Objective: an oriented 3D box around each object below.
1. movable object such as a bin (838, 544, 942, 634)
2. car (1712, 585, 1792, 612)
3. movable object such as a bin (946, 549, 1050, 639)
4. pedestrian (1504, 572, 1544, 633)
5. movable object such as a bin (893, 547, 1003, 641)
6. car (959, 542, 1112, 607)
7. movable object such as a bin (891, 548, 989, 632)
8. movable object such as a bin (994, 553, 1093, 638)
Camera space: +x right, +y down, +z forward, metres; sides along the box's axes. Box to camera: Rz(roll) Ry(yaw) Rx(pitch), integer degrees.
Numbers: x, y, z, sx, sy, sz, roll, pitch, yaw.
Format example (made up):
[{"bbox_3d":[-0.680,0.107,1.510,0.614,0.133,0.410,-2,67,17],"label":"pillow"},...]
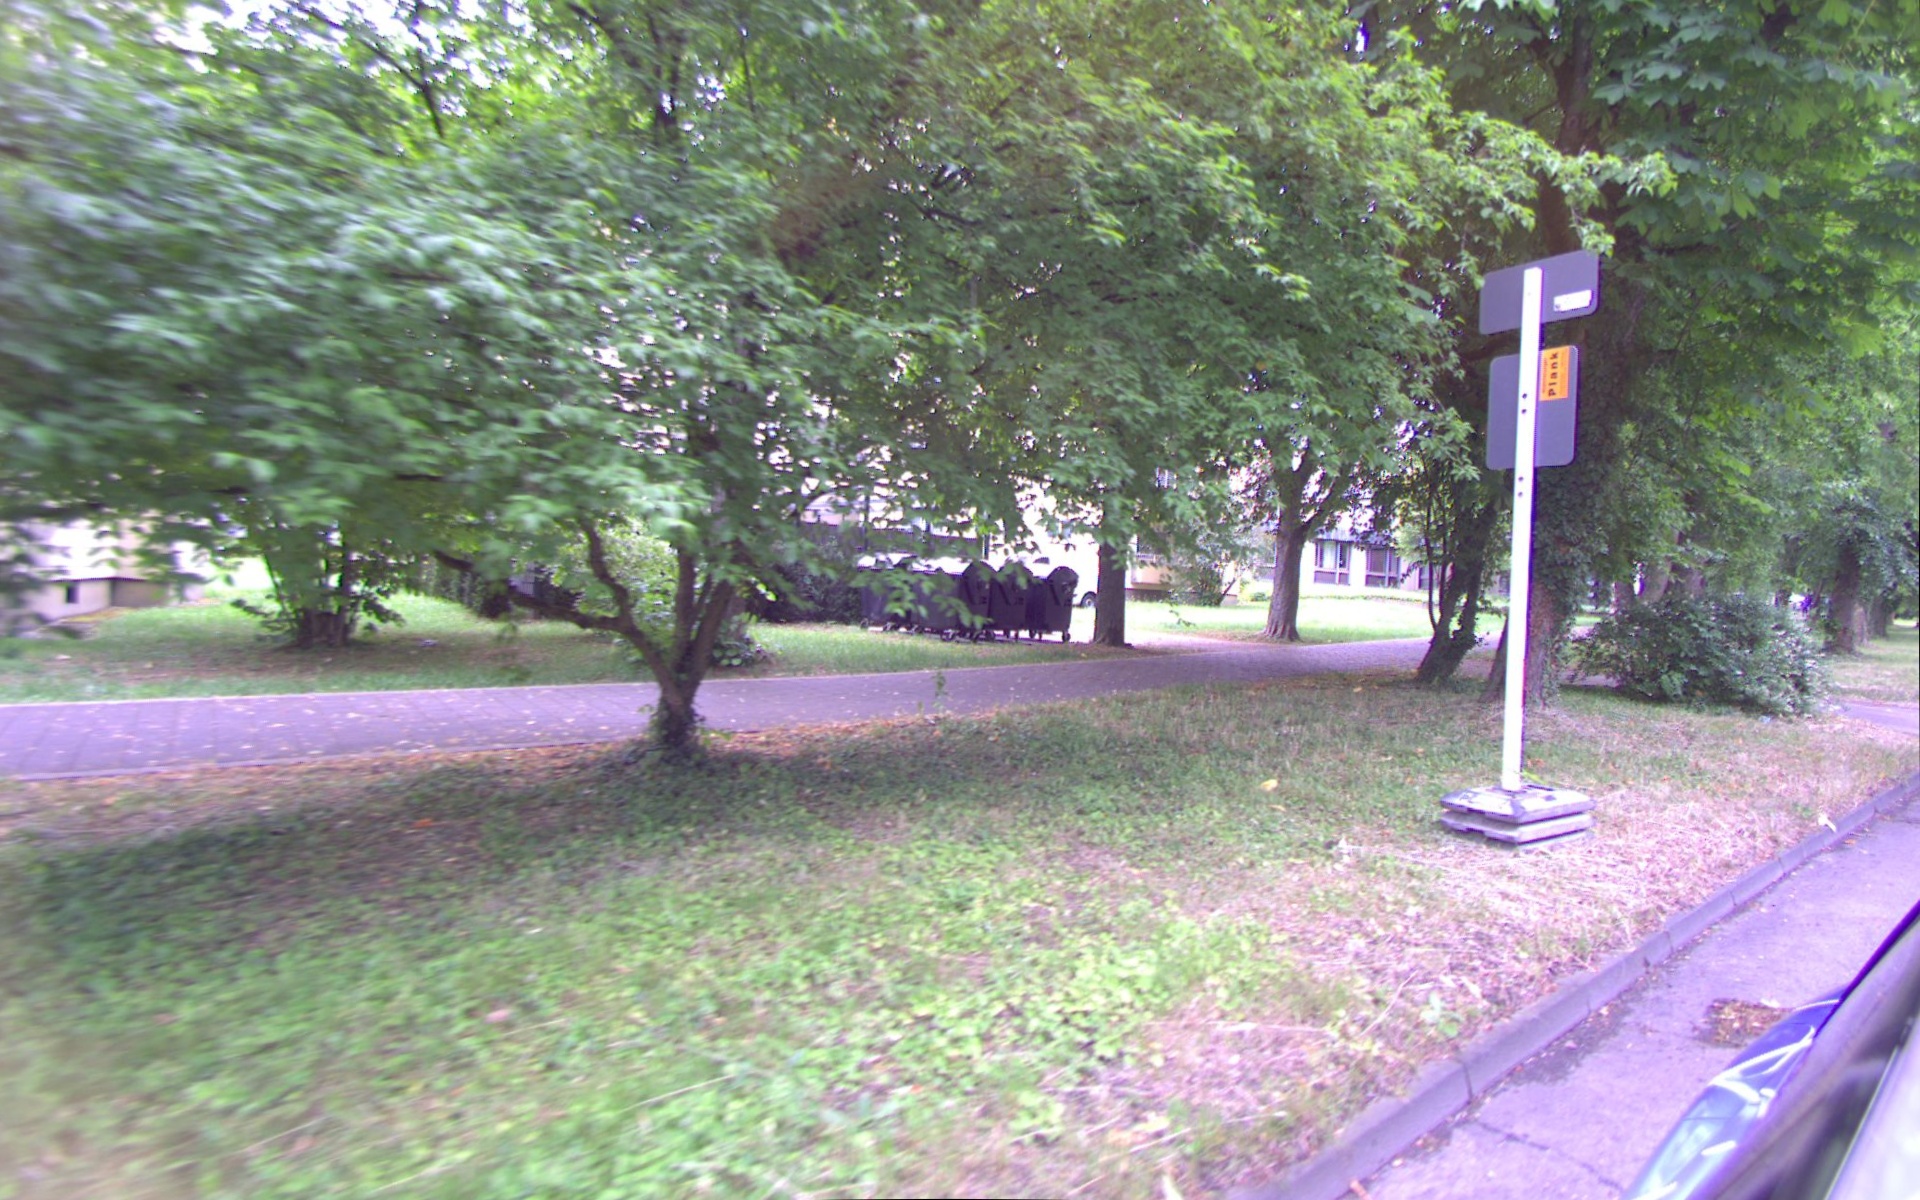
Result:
[{"bbox_3d":[-1.273,-0.213,18.469,1.327,1.519,1.294,4,3,44],"label":"movable object such as a bin"},{"bbox_3d":[73.384,-0.158,93.880,5.243,2.328,2.285,3,1,11],"label":"car"},{"bbox_3d":[0.698,-0.120,18.499,1.327,1.519,1.294,4,3,44],"label":"movable object such as a bin"},{"bbox_3d":[16.576,0.069,29.733,0.801,1.707,0.768,1,2,-45],"label":"pedestrian"},{"bbox_3d":[-0.203,-0.120,17.522,1.327,1.519,1.294,4,3,44],"label":"movable object such as a bin"},{"bbox_3d":[2.595,-0.851,34.183,4.873,1.865,2.094,2,2,-36],"label":"car"},{"bbox_3d":[-0.388,-0.206,19.473,1.327,1.519,1.294,4,3,44],"label":"movable object such as a bin"},{"bbox_3d":[1.614,-0.105,19.493,1.327,1.519,1.294,4,3,44],"label":"movable object such as a bin"}]
